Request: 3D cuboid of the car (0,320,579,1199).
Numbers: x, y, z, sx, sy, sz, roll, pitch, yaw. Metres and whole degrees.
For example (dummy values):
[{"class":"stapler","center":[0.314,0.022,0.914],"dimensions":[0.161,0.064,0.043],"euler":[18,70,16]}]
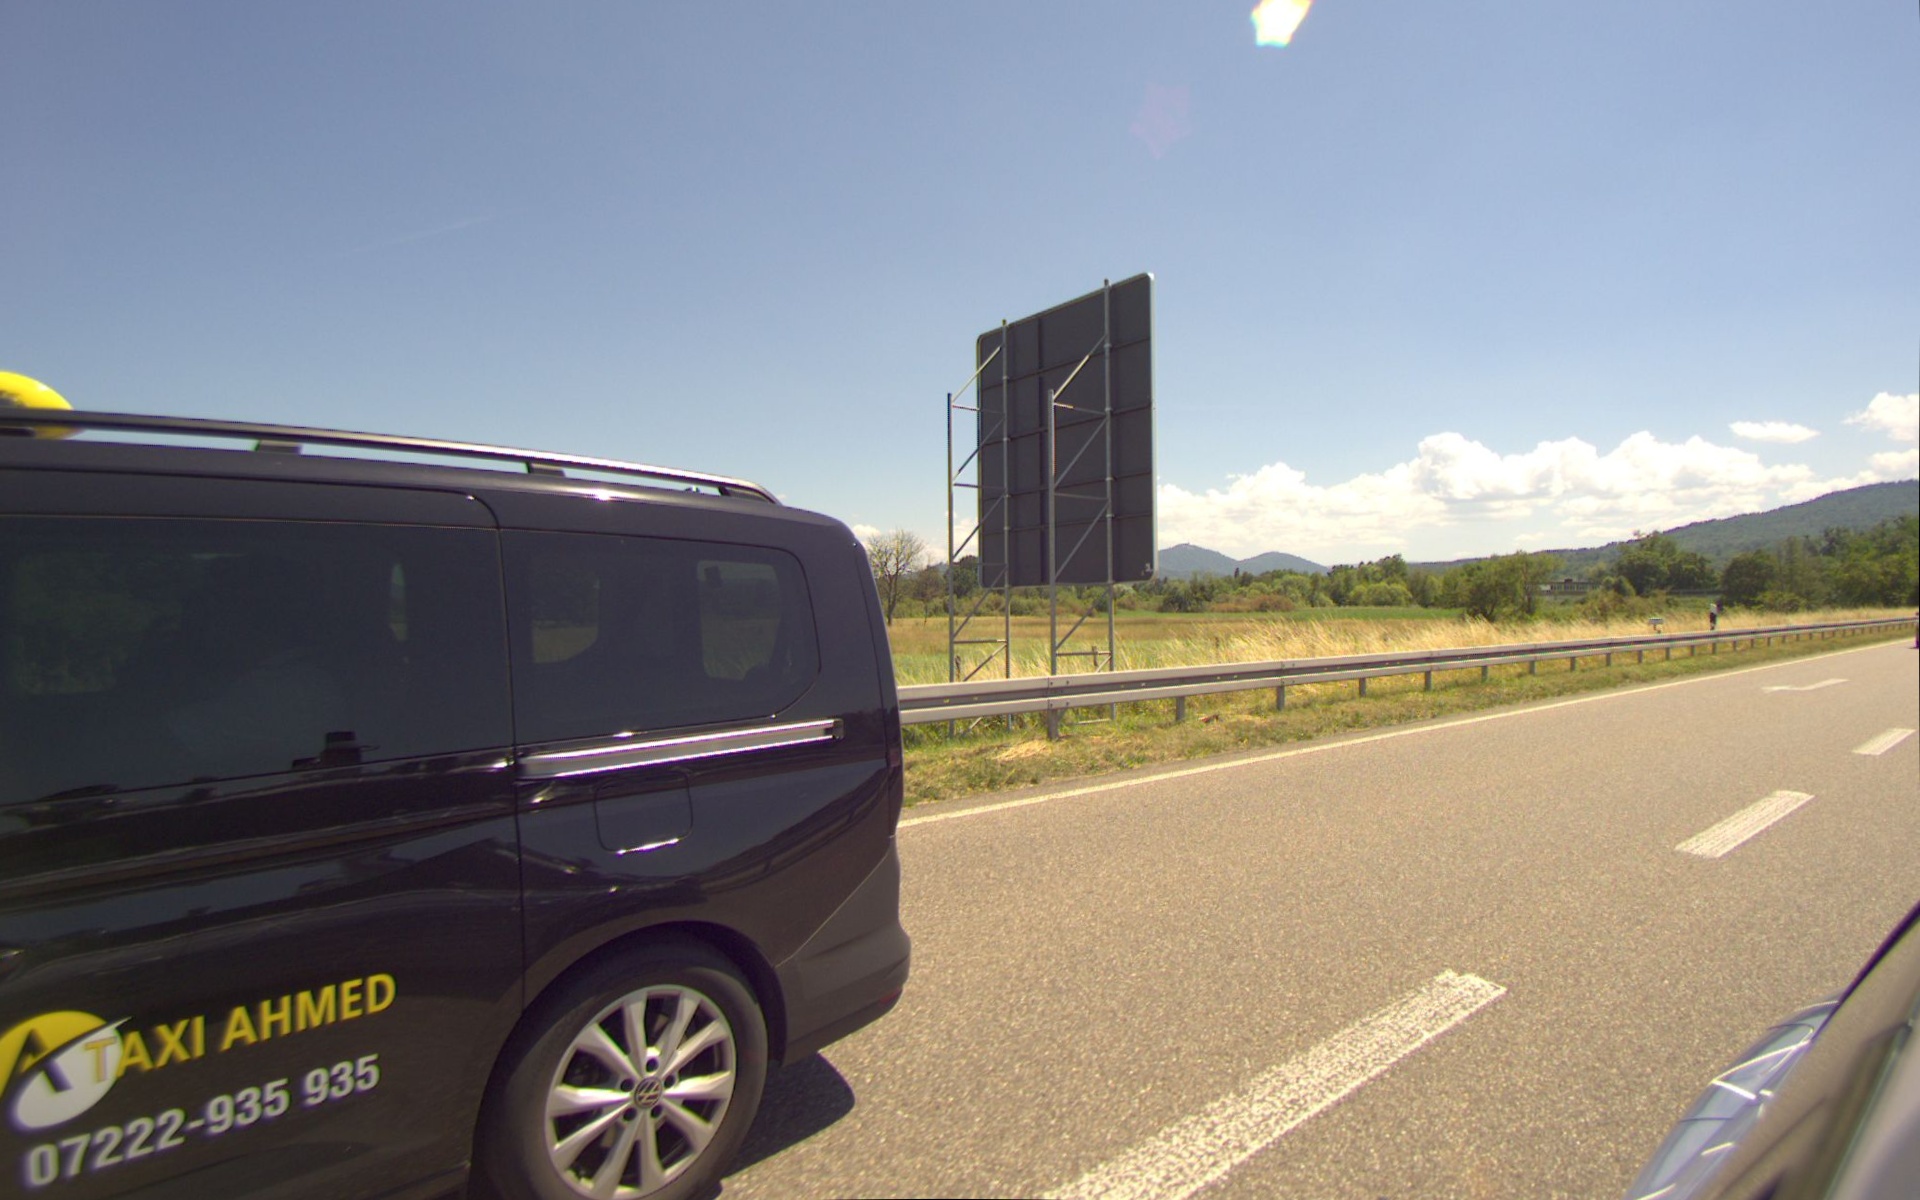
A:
[{"class":"car","center":[-2.957,0.486,1.511],"dimensions":[4.138,1.840,1.783],"euler":[0,0,-40]}]
